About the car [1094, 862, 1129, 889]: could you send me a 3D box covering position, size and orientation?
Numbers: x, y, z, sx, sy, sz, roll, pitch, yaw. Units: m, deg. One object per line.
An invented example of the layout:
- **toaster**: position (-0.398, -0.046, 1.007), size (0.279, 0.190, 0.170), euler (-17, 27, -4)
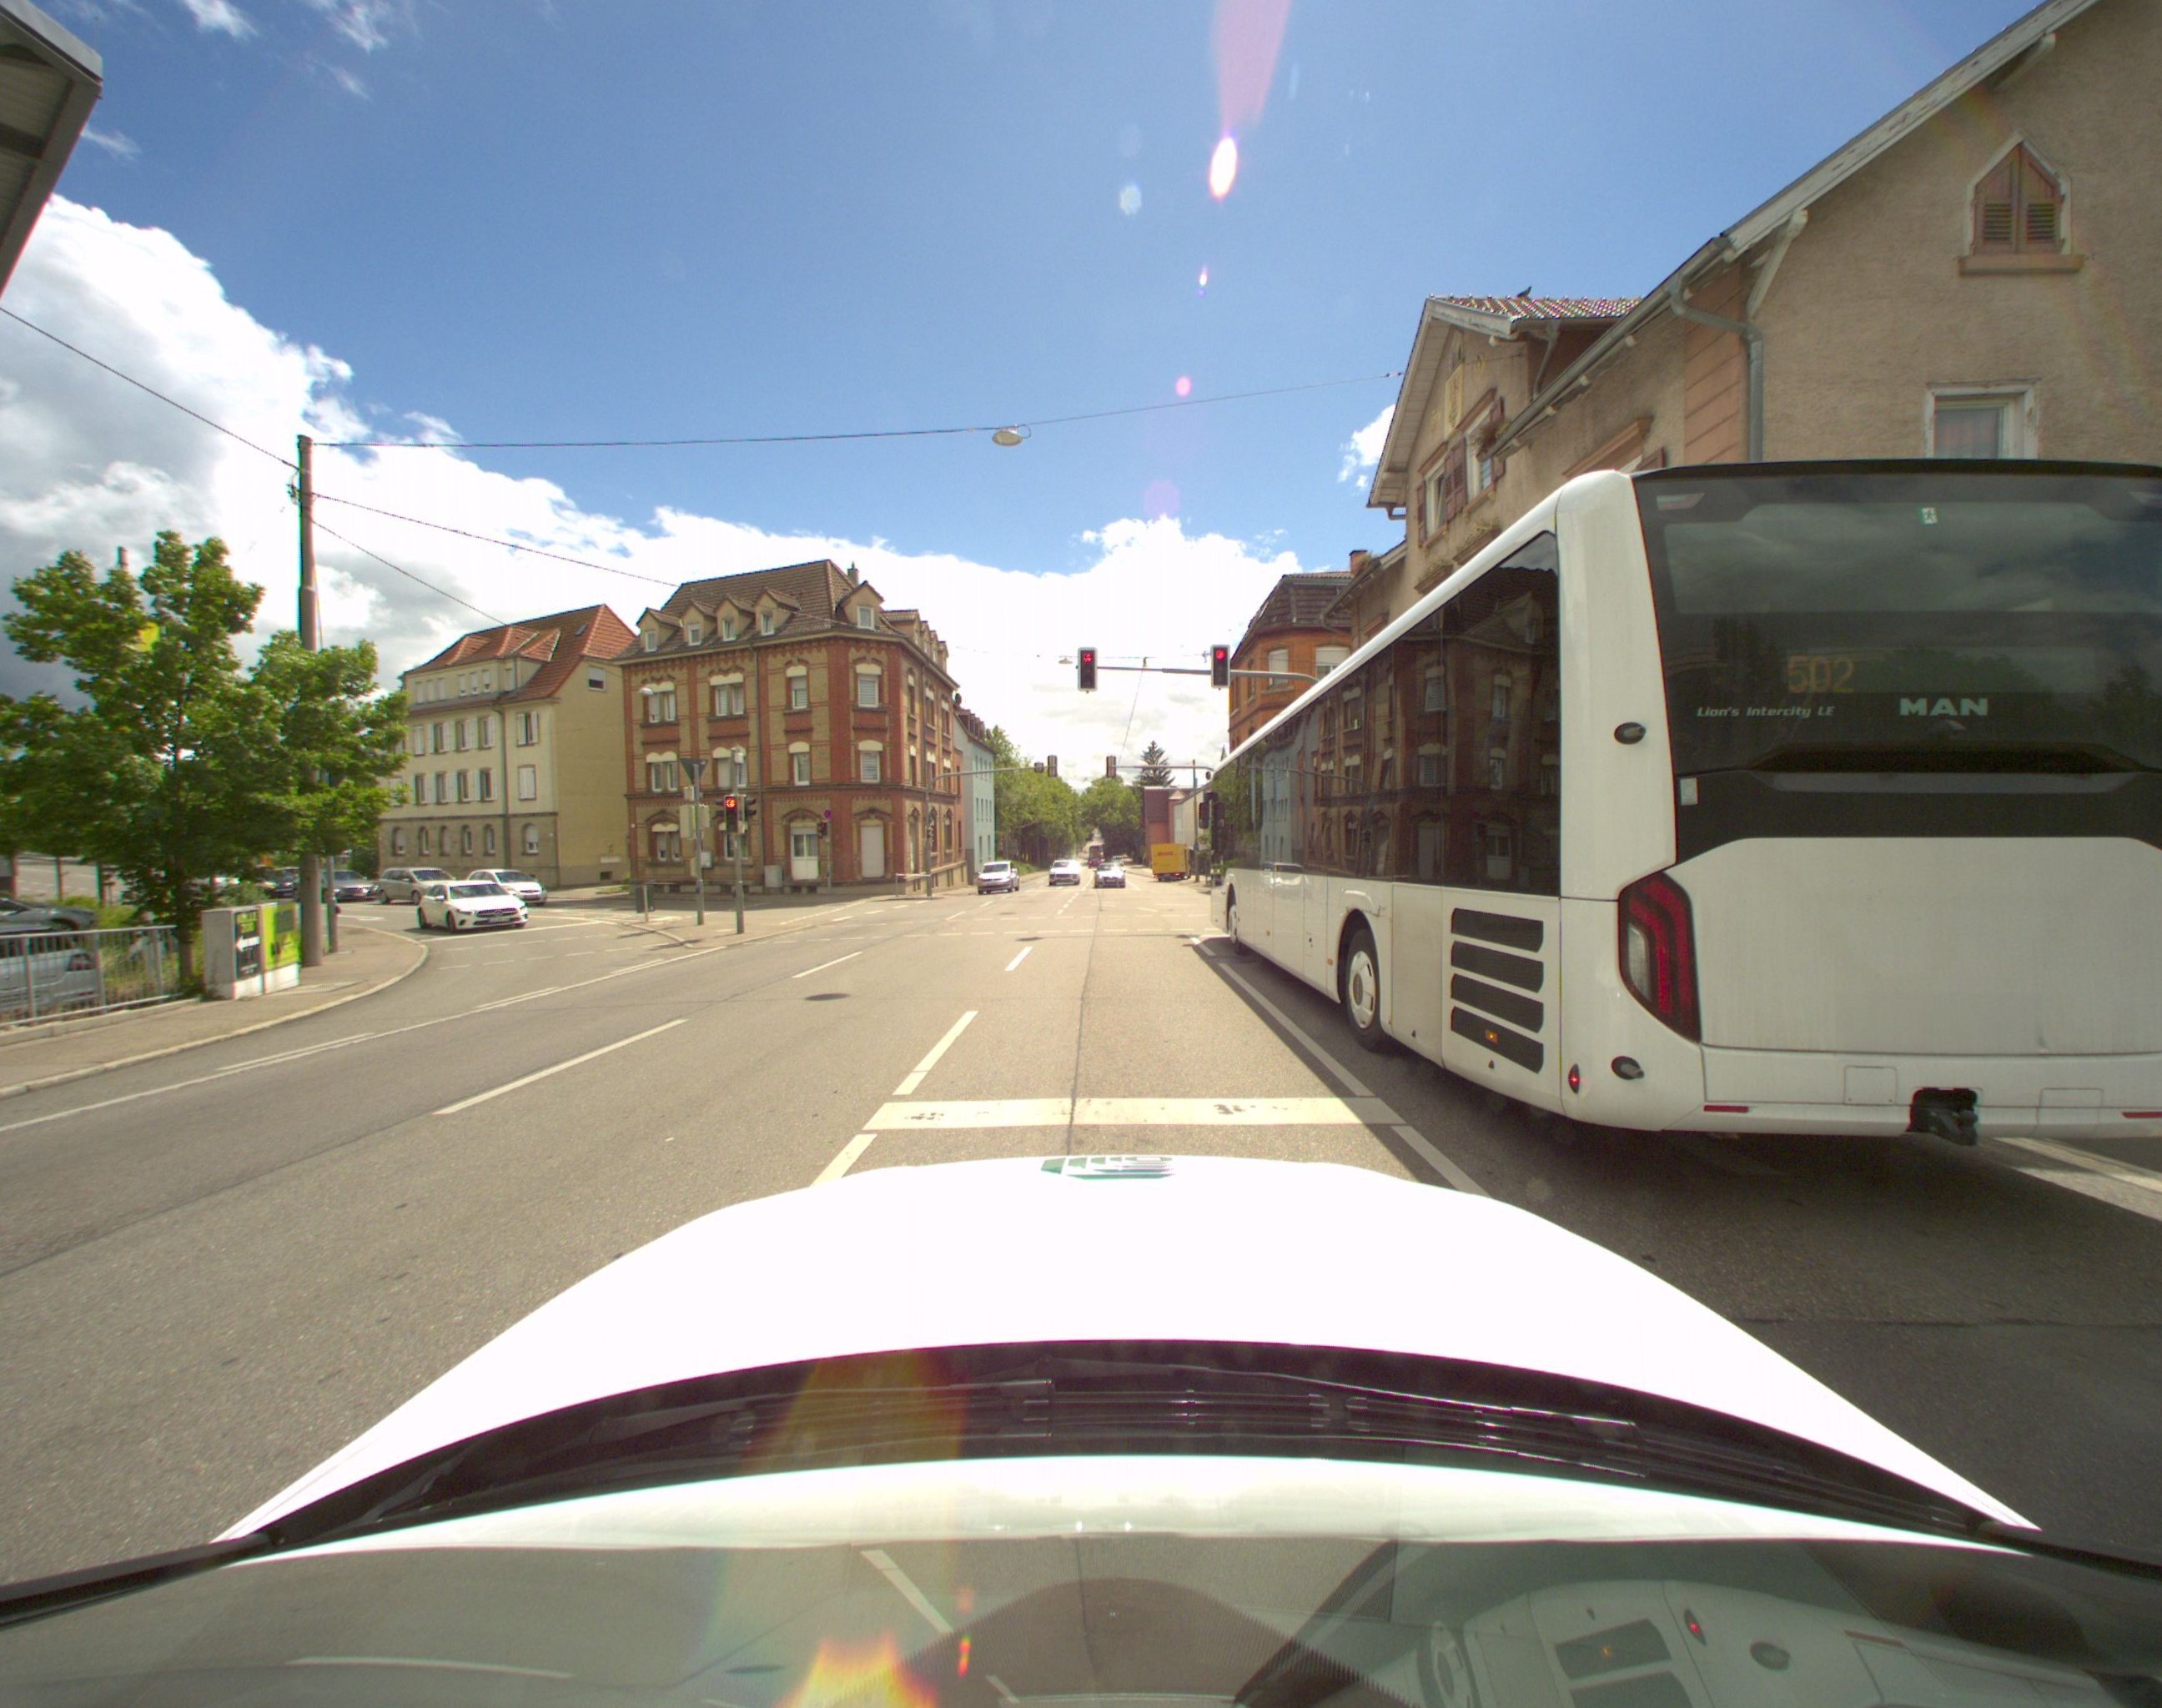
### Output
- **car**: position (1.721, 1.200, 46.757), size (1.858, 1.367, 4.549), euler (-2, 0, 2)

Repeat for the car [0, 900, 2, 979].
- **car**: position (-23.403, 1.738, 16.436), size (3.371, 1.575, 1.526), euler (-1, 0, 30)

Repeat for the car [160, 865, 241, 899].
- **car**: position (-47.507, 1.486, 43.920), size (3.950, 1.720, 1.957), euler (-1, 0, 27)

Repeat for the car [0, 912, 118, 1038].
- **car**: position (-16.116, 1.743, 12.187), size (3.638, 1.575, 1.766), euler (-1, -2, 34)

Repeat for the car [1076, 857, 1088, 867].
- **car**: position (0.188, 1.463, 152.352), size (2.086, 1.830, 4.140), euler (-1, 0, -1)

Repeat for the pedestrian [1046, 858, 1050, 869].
- **pedestrian**: position (-5.563, 1.631, 136.908), size (0.604, 1.758, 0.653), euler (-2, 0, 0)

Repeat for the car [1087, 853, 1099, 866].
- **car**: position (1.826, 0.846, 123.548), size (1.812, 1.784, 4.002), euler (-2, 0, 2)

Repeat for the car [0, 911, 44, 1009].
- **car**: position (-19.711, 1.835, 14.157), size (3.744, 1.523, 1.526), euler (-1, 0, 30)

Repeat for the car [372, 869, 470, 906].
- **car**: position (-29.207, 1.472, 36.053), size (3.951, 1.519, 1.757), euler (-1, 0, 24)

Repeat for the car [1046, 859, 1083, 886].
- **car**: position (-1.061, 1.205, 54.971), size (2.199, 1.613, 4.549), euler (-2, 0, 2)

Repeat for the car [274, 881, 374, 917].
- **car**: position (-35.451, 2.081, 38.145), size (3.951, 1.519, 2.011), euler (-1, 0, 24)

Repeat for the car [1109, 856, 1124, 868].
- **car**: position (5.635, 1.228, 129.668), size (2.086, 1.830, 4.140), euler (-1, 0, -1)

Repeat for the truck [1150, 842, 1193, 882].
- **truck**: position (7.190, 0.619, 64.077), size (2.523, 2.913, 6.596), euler (-1, -1, 13)

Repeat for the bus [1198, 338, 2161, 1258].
- **bus**: position (3.512, -0.172, 9.357), size (2.893, 3.510, 12.492), euler (0, 0, 2)

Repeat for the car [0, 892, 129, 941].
- **car**: position (-29.253, 1.733, 22.219), size (1.795, 1.186, 4.025), euler (-1, 0, 31)

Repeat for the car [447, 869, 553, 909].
- **car**: position (-23.598, 1.394, 33.066), size (3.951, 1.497, 1.711), euler (-1, 0, 24)

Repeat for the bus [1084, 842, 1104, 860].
- **bus**: position (2.847, -0.650, 179.468), size (3.294, 3.631, 11.226), euler (-2, 0, -4)

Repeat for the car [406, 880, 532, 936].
- **car**: position (-18.244, 1.543, 24.220), size (4.334, 1.447, 1.875), euler (-2, 0, 37)

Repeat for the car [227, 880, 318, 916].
- **car**: position (-40.032, 2.134, 40.305), size (4.291, 1.586, 2.012), euler (-1, 0, 29)

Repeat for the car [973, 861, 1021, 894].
- **car**: position (-4.414, 1.211, 43.576), size (1.928, 1.563, 4.390), euler (-2, 0, 2)
